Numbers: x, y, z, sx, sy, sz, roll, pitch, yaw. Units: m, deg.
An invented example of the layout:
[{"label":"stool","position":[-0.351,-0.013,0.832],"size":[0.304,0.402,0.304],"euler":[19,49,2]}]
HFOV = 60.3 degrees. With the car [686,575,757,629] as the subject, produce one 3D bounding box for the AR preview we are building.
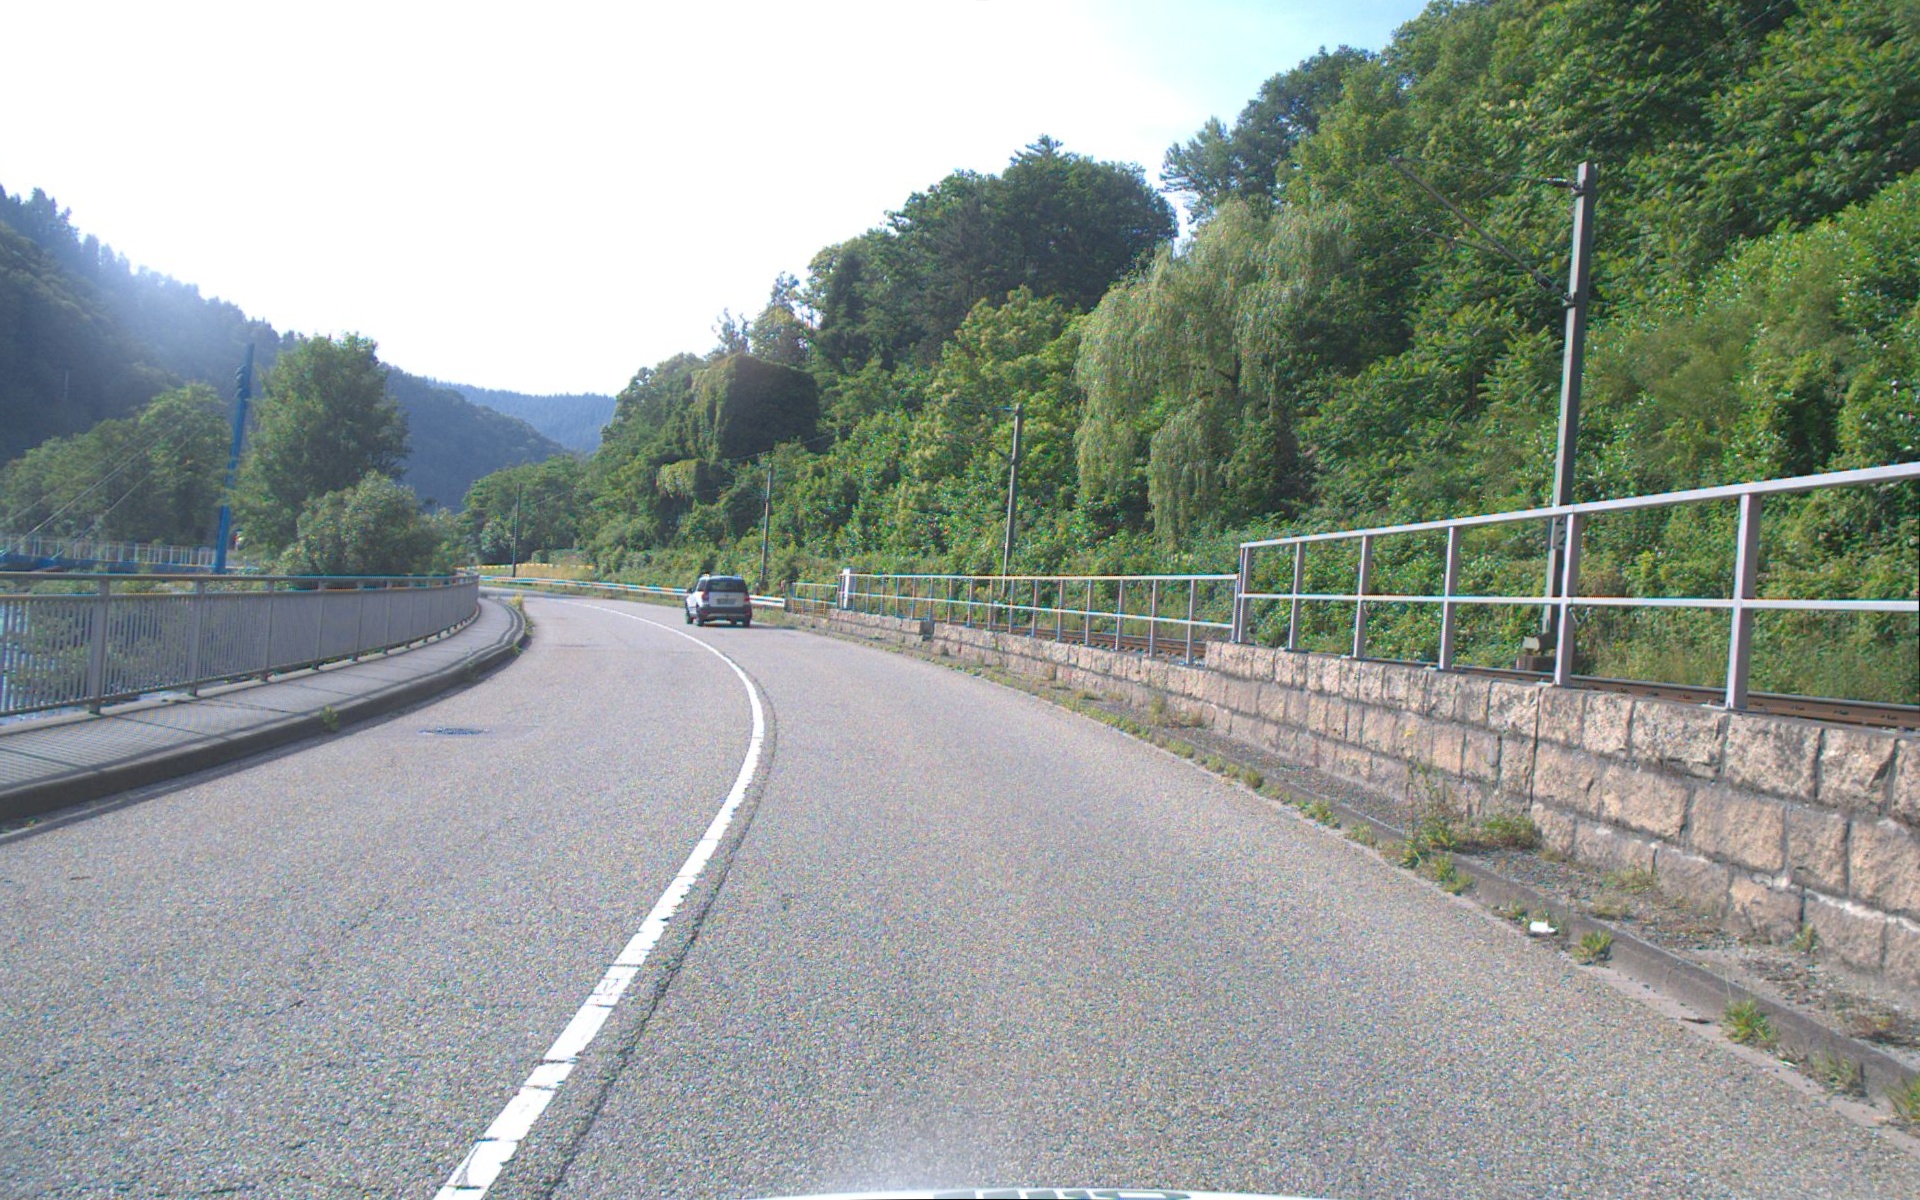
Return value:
[{"label":"car","position":[-7.968,0.038,55.027],"size":[1.842,1.684,3.984],"euler":[1,0,-15]}]
